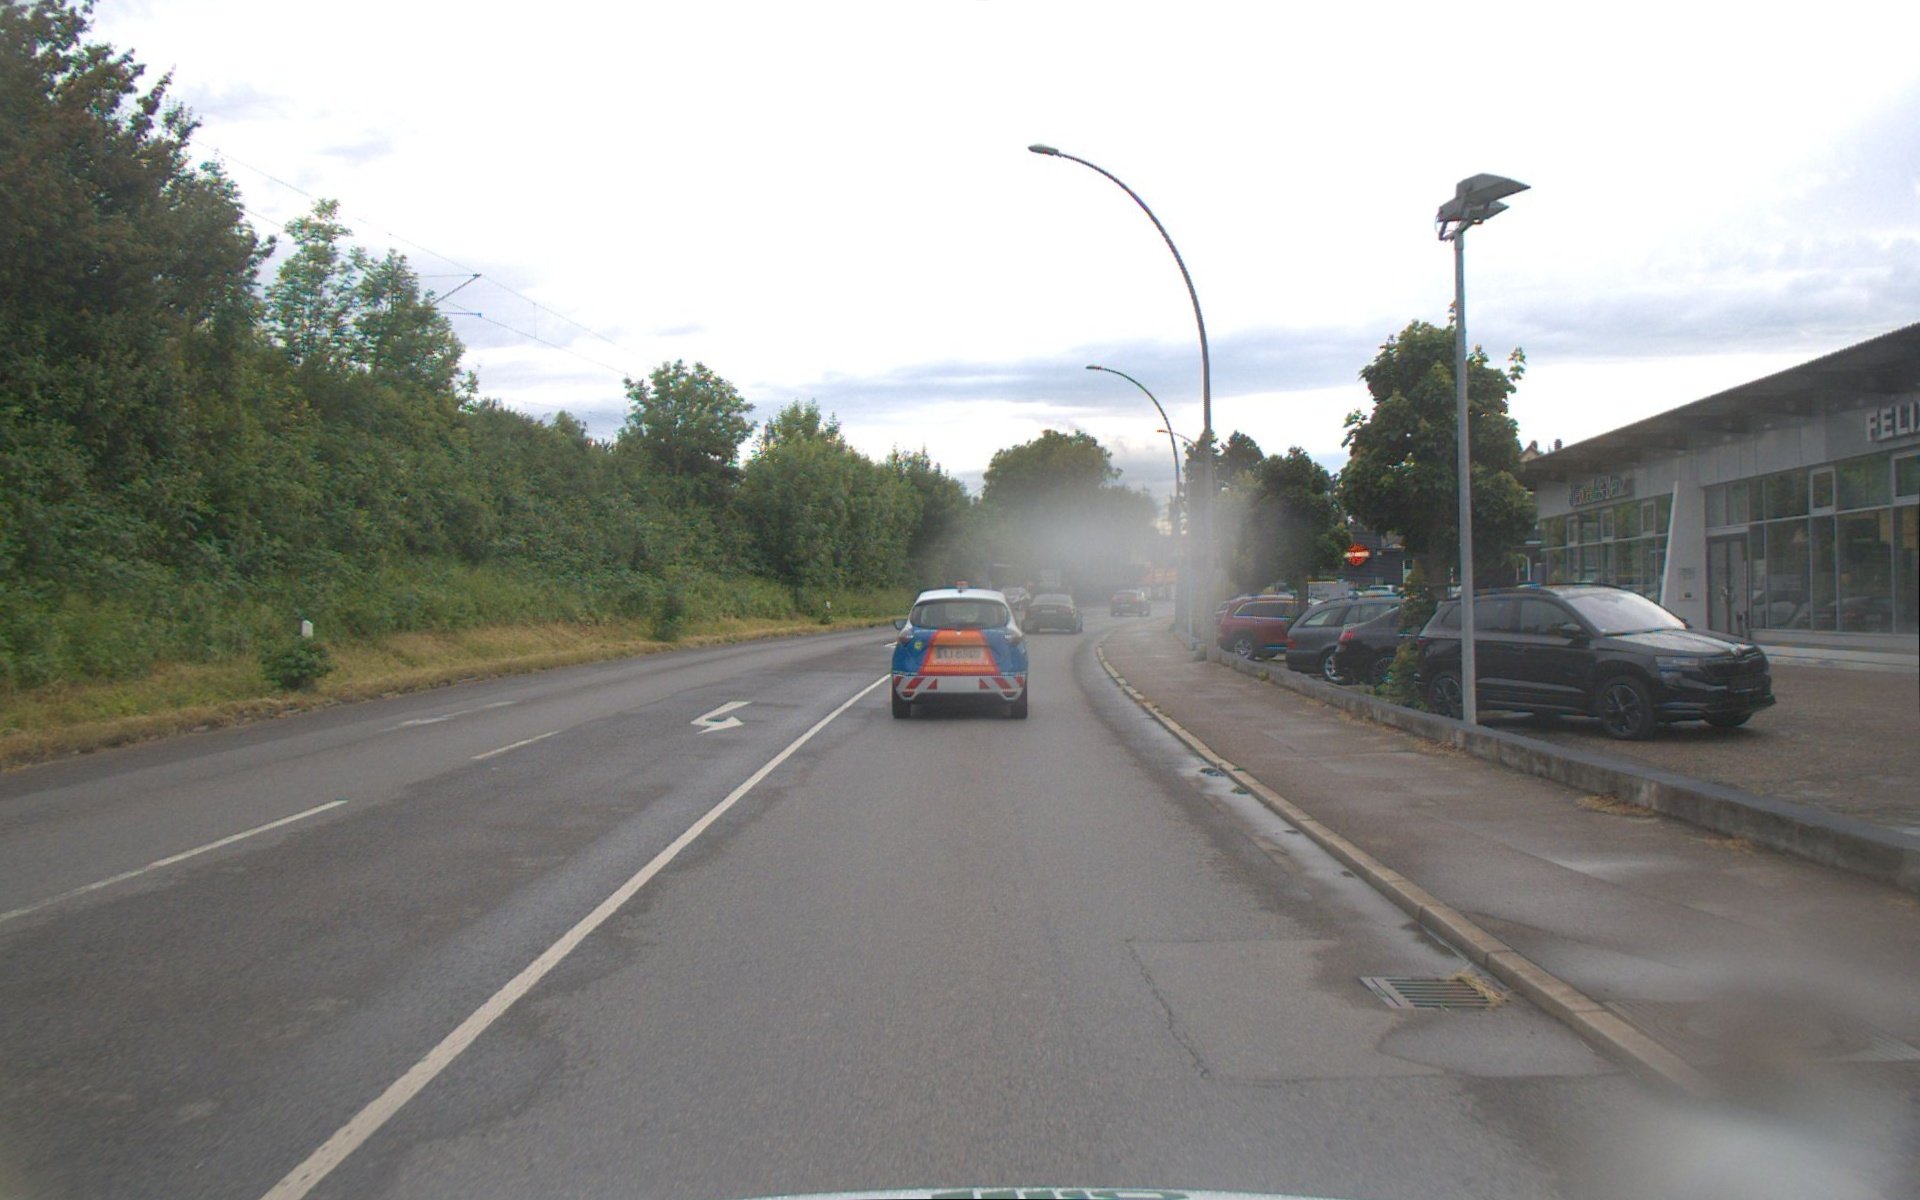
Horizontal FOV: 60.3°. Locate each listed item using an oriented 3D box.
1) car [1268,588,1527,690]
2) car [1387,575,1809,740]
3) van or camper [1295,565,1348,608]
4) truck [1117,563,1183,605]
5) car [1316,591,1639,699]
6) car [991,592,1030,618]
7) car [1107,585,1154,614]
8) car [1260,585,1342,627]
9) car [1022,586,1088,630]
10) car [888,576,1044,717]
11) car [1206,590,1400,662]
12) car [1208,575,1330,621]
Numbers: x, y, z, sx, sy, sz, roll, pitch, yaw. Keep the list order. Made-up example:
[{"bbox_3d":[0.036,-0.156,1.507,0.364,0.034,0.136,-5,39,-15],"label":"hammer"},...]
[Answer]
[{"bbox_3d":[7.585,0.660,28.813,3.925,1.583,1.889,2,-1,40],"label":"car"},{"bbox_3d":[7.182,0.564,19.143,1.815,1.636,4.509,-1,1,-27],"label":"car"},{"bbox_3d":[23.194,-0.862,105.985,2.000,2.638,6.586,-1,0,24],"label":"van or camper"},{"bbox_3d":[17.447,-1.424,151.290,2.646,3.471,9.057,2,-1,28],"label":"truck"},{"bbox_3d":[7.854,0.622,25.243,4.352,1.505,1.928,0,0,35],"label":"car"},{"bbox_3d":[3.169,0.345,103.004,1.951,1.500,4.703,2,-1,7],"label":"car"},{"bbox_3d":[9.299,-0.018,90.015,1.951,1.445,4.002,2,-1,15],"label":"car"},{"bbox_3d":[17.219,0.299,83.419,3.903,2.049,1.712,0,0,17],"label":"car"},{"bbox_3d":[3.391,0.304,58.441,1.684,1.400,3.937,2,-1,12],"label":"car"},{"bbox_3d":[0.007,0.539,21.685,1.850,1.660,3.999,0,0,-2],"label":"car"},{"bbox_3d":[9.050,0.681,43.770,4.599,1.691,1.994,2,-1,33],"label":"car"},{"bbox_3d":[10.737,-0.064,57.751,4.020,1.394,2.001,2,-1,7],"label":"car"}]
